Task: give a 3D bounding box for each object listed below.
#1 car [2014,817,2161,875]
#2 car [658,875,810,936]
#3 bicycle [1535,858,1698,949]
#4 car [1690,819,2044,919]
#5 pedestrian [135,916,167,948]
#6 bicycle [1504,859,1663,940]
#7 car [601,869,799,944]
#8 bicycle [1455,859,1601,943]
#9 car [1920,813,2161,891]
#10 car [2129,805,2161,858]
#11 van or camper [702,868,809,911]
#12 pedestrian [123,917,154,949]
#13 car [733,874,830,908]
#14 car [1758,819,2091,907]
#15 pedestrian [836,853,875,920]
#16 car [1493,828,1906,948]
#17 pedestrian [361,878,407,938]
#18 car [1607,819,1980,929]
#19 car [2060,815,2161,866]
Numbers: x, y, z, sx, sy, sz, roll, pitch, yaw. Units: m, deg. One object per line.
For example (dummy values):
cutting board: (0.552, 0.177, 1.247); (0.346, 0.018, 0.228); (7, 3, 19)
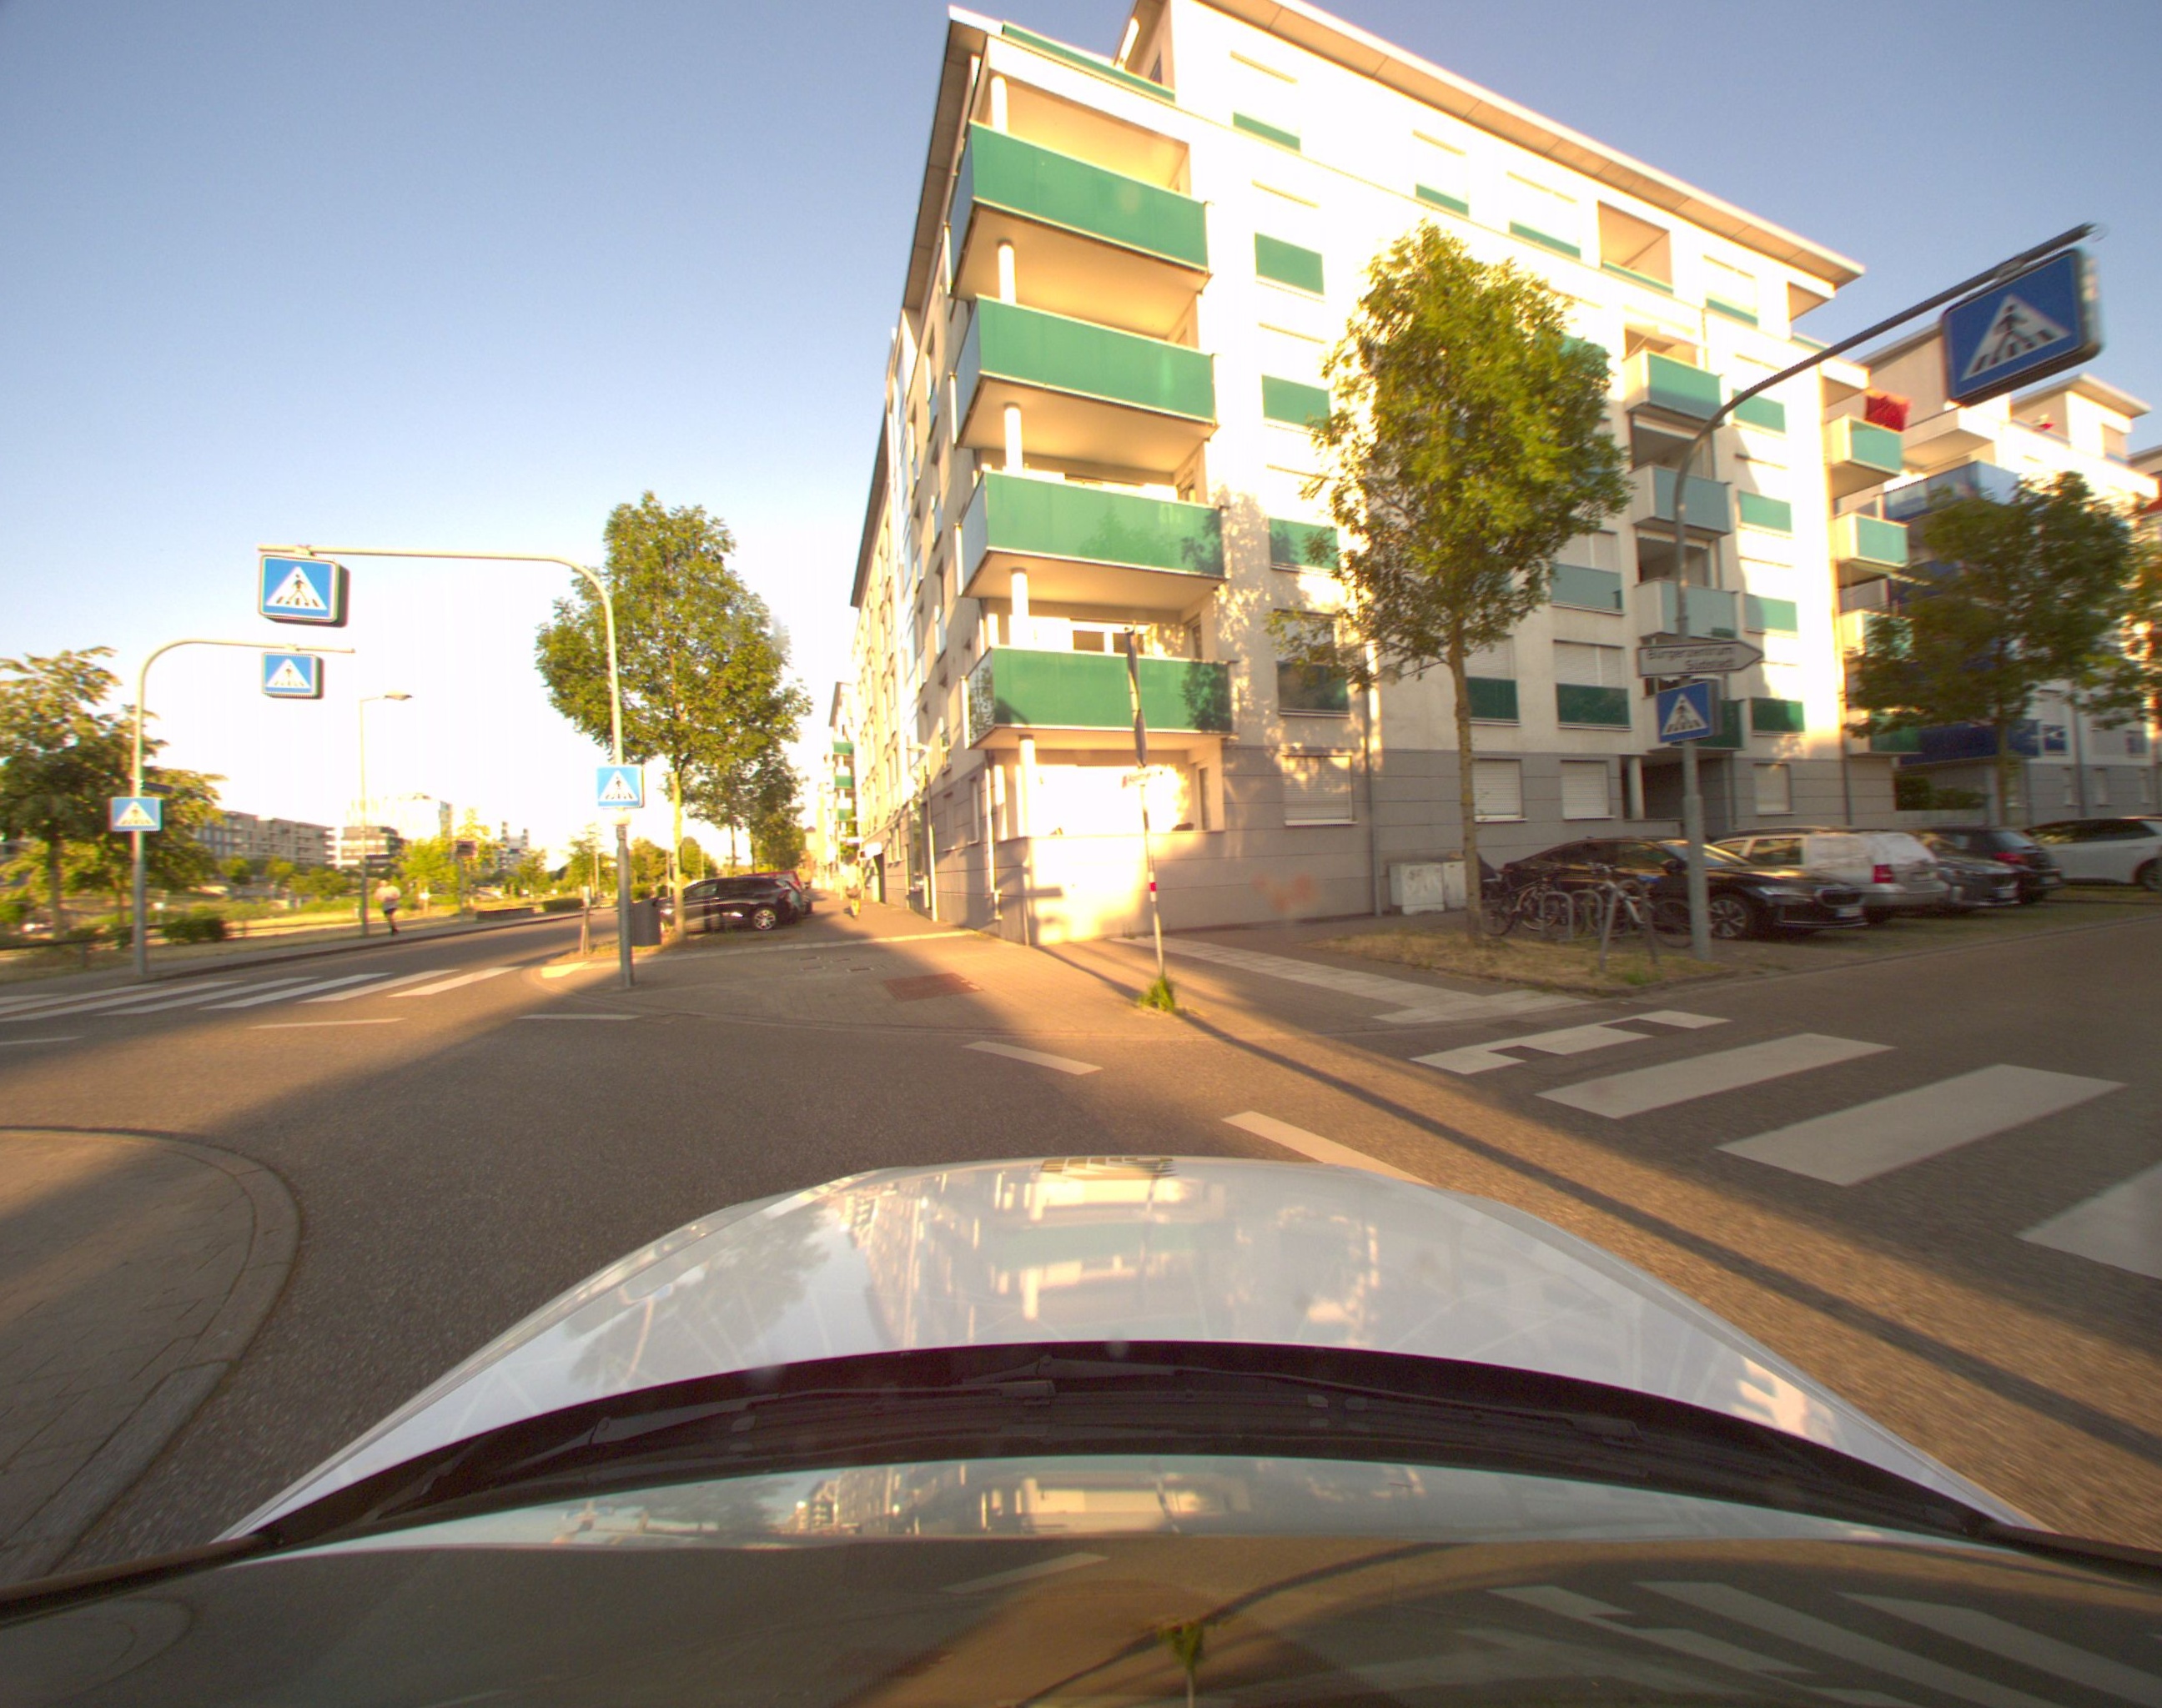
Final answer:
car: (25.629, -0.211, 19.592); (1.728, 1.344, 3.887); (-2, 1, -27)
car: (-10.329, 1.490, 24.491); (4.009, 1.373, 1.548); (-5, 0, -22)
bicycle: (7.066, 0.611, 10.858); (0.474, 1.072, 1.824); (-1, 1, -27)
car: (13.804, 0.190, 14.660); (1.745, 1.494, 4.264); (-2, 1, -23)
pedestrian: (-30.796, 2.576, 26.966); (0.500, 1.005, 0.566); (-1, -2, -25)
bicycle: (7.217, 0.609, 11.821); (0.474, 1.046, 2.018); (-1, 1, -26)
car: (-9.926, 1.333, 21.606); (4.484, 1.487, 1.820); (-5, -1, -22)
bicycle: (6.180, 0.606, 11.373); (0.568, 1.042, 1.778); (-1, 1, -27)
car: (20.979, -0.077, 17.192); (1.689, 1.507, 4.260); (-2, 1, -26)
car: (32.081, -0.647, 22.202); (1.670, 1.508, 4.069); (-2, 1, -27)
van or camper: (-17.258, 1.861, 43.332); (5.136, 2.060, 1.863); (-2, -2, -22)
pedestrian: (-30.503, 2.549, 26.363); (0.500, 1.005, 0.477); (-1, -2, -25)
car: (-15.125, 1.847, 41.261); (4.470, 1.521, 1.689); (-2, -2, -22)
car: (16.222, 0.110, 16.022); (1.739, 1.458, 4.276); (-1, 1, -14)
pedestrian: (-6.599, 0.941, 23.796); (0.980, 1.894, 1.043); (-1, -2, -20)
car: (9.139, 0.379, 12.677); (1.938, 1.457, 4.857); (-2, 1, -20)
pedestrian: (-20.841, 1.608, 24.371); (0.766, 1.730, 0.797); (-2, -2, -15)
car: (11.548, 0.356, 13.678); (1.742, 1.508, 4.386); (-2, -2, -19)
car: (29.647, -0.373, 21.850); (1.670, 1.361, 4.069); (-2, 1, -27)
